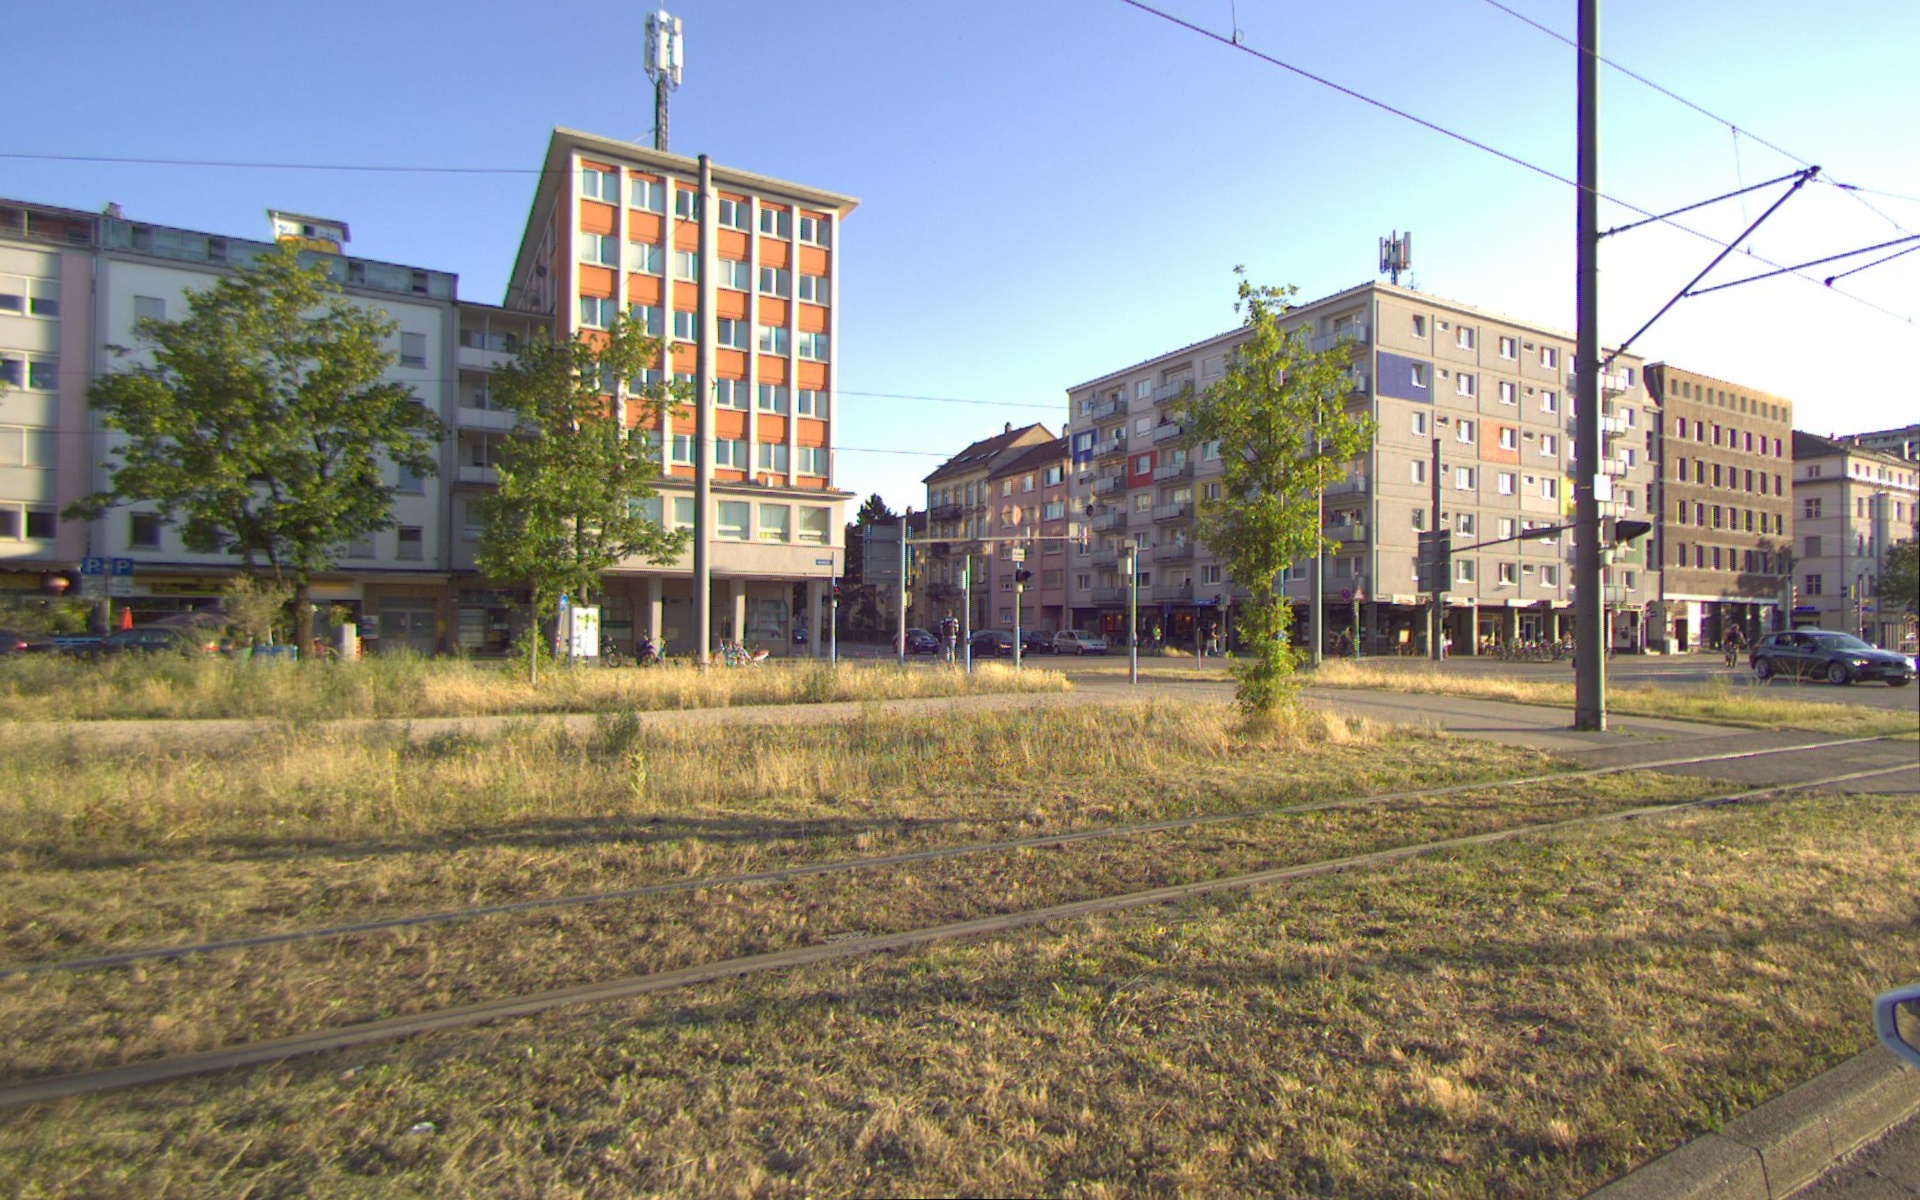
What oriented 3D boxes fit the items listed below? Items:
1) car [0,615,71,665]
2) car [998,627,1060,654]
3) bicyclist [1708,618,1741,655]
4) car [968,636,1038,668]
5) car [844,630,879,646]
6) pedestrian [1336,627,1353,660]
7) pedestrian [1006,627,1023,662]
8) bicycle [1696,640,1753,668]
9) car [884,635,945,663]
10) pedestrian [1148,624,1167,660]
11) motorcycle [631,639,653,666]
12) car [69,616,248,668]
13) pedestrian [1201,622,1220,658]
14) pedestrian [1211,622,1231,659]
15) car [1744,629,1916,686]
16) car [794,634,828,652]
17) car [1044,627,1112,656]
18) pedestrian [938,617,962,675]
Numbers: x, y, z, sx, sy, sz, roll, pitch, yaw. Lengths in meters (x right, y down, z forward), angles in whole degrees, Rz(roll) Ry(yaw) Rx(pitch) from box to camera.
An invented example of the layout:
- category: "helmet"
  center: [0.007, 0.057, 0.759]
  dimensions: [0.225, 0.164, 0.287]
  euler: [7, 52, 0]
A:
- category: "car"
  center: [-30.980, 1.273, 31.781]
  dimensions: [3.926, 1.547, 1.758]
  euler: [-1, -1, -8]
- category: "car"
  center: [4.201, 2.453, 61.723]
  dimensions: [1.785, 1.606, 3.840]
  euler: [0, -1, -35]
- category: "bicyclist"
  center: [31.413, 1.487, 41.266]
  dimensions: [0.655, 1.462, 0.850]
  euler: [0, 1, -29]
- category: "car"
  center: [2.287, 2.793, 54.182]
  dimensions: [1.785, 1.606, 3.840]
  euler: [0, -1, -35]
- category: "car"
  center: [-9.912, 3.788, 100.926]
  dimensions: [1.785, 1.606, 3.840]
  euler: [0, -1, -35]
- category: "pedestrian"
  center: [20.306, 2.289, 53.063]
  dimensions: [0.767, 1.692, 0.741]
  euler: [-1, -1, 15]
- category: "pedestrian"
  center: [2.611, 2.127, 47.881]
  dimensions: [0.608, 1.651, 0.512]
  euler: [0, -1, -30]
- category: "bicycle"
  center: [31.405, 2.197, 41.273]
  dimensions: [0.695, 0.983, 1.721]
  euler: [0, 2, -28]
- category: "car"
  center: [-2.923, 3.088, 64.034]
  dimensions: [1.969, 1.606, 4.253]
  euler: [0, -1, -35]
- category: "pedestrian"
  center: [10.365, 2.205, 52.731]
  dimensions: [0.673, 1.872, 0.630]
  euler: [0, -1, -30]
- category: "motorcycle"
  center: [-12.940, 2.122, 40.852]
  dimensions: [0.525, 1.082, 1.443]
  euler: [0, -1, -30]
- category: "car"
  center: [-25.845, 1.339, 32.518]
  dimensions: [4.212, 1.547, 1.758]
  euler: [-1, -1, -8]
- category: "pedestrian"
  center: [13.329, 2.126, 53.459]
  dimensions: [0.728, 1.876, 0.702]
  euler: [0, -1, -30]
- category: "pedestrian"
  center: [13.665, 2.114, 52.630]
  dimensions: [0.812, 1.872, 0.599]
  euler: [0, -1, -30]
- category: "car"
  center: [24.275, 1.567, 28.238]
  dimensions: [1.683, 1.453, 4.003]
  euler: [0, -1, 6]
- category: "car"
  center: [-13.467, 3.877, 90.662]
  dimensions: [1.803, 1.572, 3.970]
  euler: [0, -1, -29]
- category: "car"
  center: [6.765, 2.365, 57.836]
  dimensions: [1.785, 1.606, 3.840]
  euler: [0, -1, -35]
- category: "pedestrian"
  center: [-0.313, 1.434, 31.426]
  dimensions: [0.638, 1.786, 0.721]
  euler: [-1, -1, -9]
